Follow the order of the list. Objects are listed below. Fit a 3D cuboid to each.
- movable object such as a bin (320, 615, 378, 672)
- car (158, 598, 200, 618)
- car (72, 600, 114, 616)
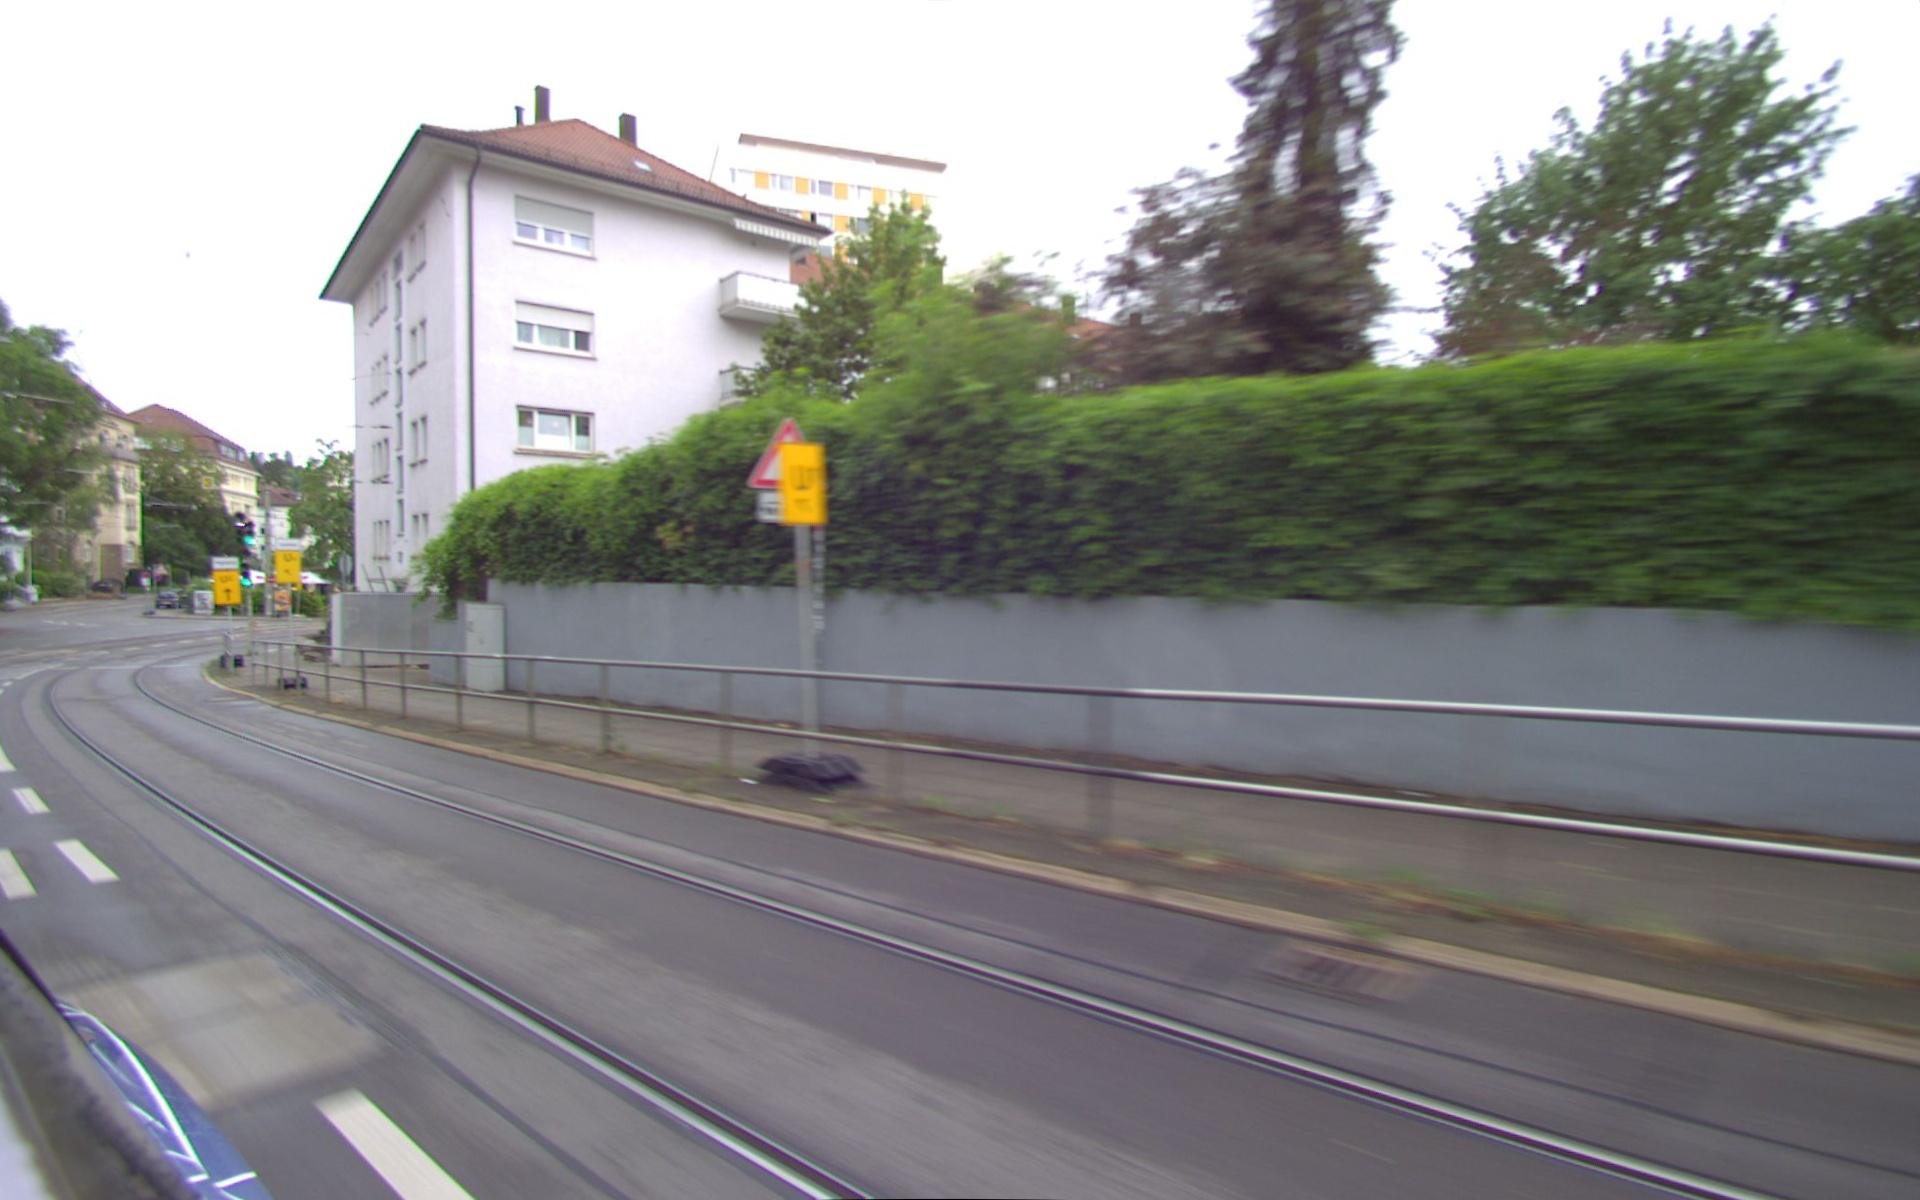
[{"bbox_3d":[-16.358,1.168,27.080,1.170,1.473,1.292,1,-3,-39],"label":"movable object such as a bin"},{"bbox_3d":[-61.097,0.621,79.224,1.664,1.453,3.817,1,0,-22],"label":"car"},{"bbox_3d":[-76.600,0.716,89.438,1.572,1.351,3.645,0,-2,-19],"label":"car"}]
